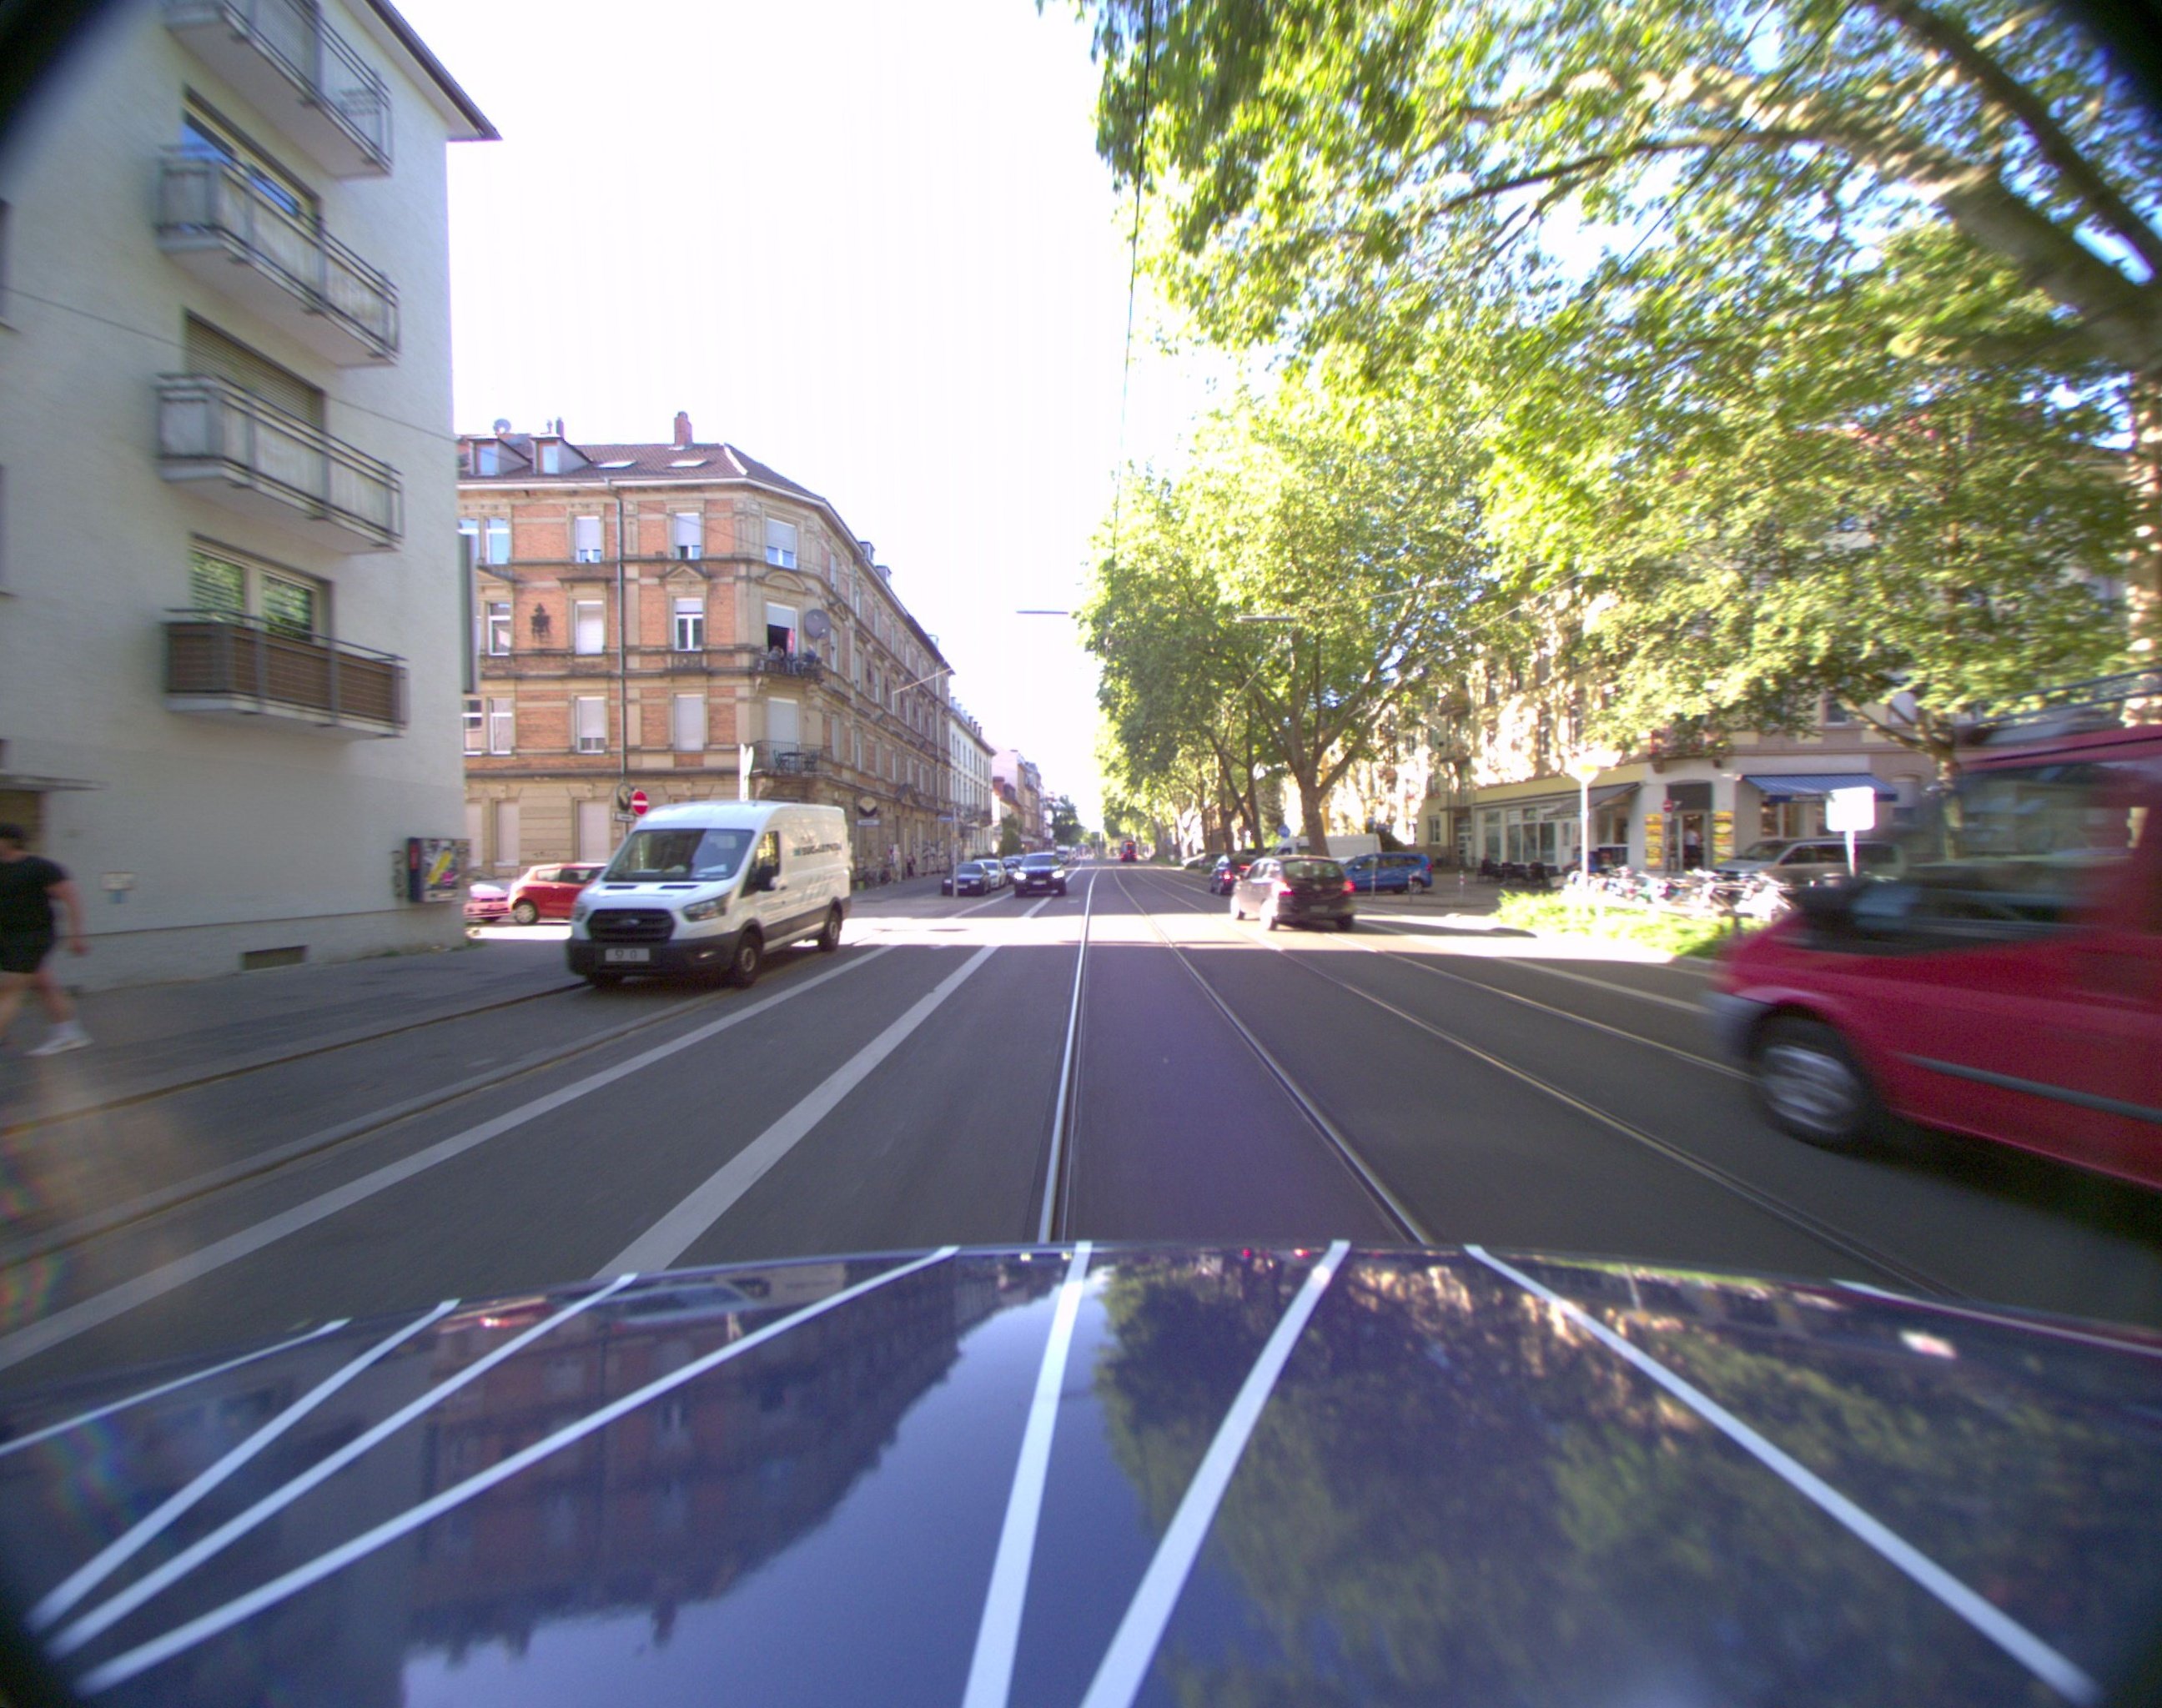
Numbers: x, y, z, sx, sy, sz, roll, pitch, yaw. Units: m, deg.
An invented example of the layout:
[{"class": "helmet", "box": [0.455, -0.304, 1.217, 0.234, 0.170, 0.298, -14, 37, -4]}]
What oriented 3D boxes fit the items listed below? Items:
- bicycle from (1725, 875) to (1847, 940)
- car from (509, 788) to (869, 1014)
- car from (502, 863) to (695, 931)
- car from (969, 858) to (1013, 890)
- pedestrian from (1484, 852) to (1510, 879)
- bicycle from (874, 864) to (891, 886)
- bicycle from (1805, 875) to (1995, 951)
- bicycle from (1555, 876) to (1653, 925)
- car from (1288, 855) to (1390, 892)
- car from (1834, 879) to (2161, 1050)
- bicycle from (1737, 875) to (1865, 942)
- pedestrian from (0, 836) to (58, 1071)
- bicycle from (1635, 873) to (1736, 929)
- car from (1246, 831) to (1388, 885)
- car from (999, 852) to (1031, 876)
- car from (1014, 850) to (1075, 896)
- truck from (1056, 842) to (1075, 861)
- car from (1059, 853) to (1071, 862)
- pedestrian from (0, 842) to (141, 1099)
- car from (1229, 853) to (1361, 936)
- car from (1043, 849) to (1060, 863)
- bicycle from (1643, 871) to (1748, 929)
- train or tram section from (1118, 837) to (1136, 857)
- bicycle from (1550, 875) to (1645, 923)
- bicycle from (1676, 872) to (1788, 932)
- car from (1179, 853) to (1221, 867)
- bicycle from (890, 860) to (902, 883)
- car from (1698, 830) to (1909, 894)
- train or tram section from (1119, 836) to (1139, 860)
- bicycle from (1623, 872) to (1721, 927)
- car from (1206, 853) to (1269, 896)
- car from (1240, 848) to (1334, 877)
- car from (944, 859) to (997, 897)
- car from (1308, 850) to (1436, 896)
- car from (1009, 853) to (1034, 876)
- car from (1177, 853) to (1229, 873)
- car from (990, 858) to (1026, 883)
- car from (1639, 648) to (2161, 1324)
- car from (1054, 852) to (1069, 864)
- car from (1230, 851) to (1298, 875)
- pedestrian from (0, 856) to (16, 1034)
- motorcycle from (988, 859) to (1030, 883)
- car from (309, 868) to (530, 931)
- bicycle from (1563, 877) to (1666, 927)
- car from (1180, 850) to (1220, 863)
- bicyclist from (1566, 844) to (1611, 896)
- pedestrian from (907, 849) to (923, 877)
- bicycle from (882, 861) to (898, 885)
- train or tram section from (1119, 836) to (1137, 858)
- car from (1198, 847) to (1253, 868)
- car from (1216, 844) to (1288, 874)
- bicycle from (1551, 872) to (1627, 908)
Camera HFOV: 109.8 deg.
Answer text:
[{"class": "bicycle", "box": [12.420, 0.928, 13.423, 1.560, 1.082, 0.397, 0, 1, 19]}, {"class": "car", "box": [-5.196, 0.499, 11.471, 2.154, 2.481, 6.088, -1, 1, 1]}, {"class": "car", "box": [-11.976, 1.048, 19.036, 3.659, 1.564, 1.790, -1, 0, 1]}, {"class": "car", "box": [-4.444, 0.964, 37.901, 1.606, 1.412, 4.013, 1, 1, 1]}, {"class": "pedestrian", "box": [18.931, 0.521, 34.630, 0.708, 1.234, 0.930, -1, 1, 3]}, {"class": "bicycle", "box": [-9.528, 1.002, 36.449, 0.379, 0.995, 1.372, -1, 1, 3]}, {"class": "bicycle", "box": [12.485, 0.881, 11.653, 1.920, 1.082, 0.598, 0, 1, 19]}, {"class": "bicycle", "box": [12.223, 1.073, 17.808, 1.858, 1.082, 0.397, 0, 1, 19]}, {"class": "car", "box": [10.983, 0.802, 32.481, 3.779, 1.509, 1.747, -1, 1, -2]}, {"class": "car", "box": [10.745, 1.041, 7.877, 3.997, 1.452, 1.879, -1, 1, 1]}, {"class": "bicycle", "box": [12.241, 0.911, 12.960, 1.560, 1.082, 0.397, 0, 1, 19]}, {"class": "pedestrian", "box": [-8.661, 0.769, 5.632, 0.626, 1.812, 1.082, 1, 1, 3]}, {"class": "bicycle", "box": [12.139, 0.936, 15.295, 1.560, 1.082, 0.397, 0, 1, 19]}, {"class": "car", "box": [12.044, 0.208, 39.112, 6.618, 2.393, 2.000, -3, 0, 2]}, {"class": "car", "box": [-4.285, 0.644, 49.888, 1.610, 1.444, 3.741, 1, 1, 3]}, {"class": "car", "box": [-1.405, 0.762, 31.137, 1.948, 1.694, 4.632, -2, -1, 3]}, {"class": "truck", "box": [-2.701, -0.479, 135.059, 2.842, 3.145, 7.291, -3, 1, 1]}, {"class": "car", "box": [-2.482, 0.502, 119.232, 1.702, 1.324, 3.686, 1, 1, 2]}, {"class": "pedestrian", "box": [-7.988, 0.823, 5.603, 0.711, 1.812, 1.082, 1, 1, 3]}, {"class": "car", "box": [4.324, 0.754, 15.948, 1.722, 1.501, 3.722, -1, 0, 0]}, {"class": "car", "box": [-3.508, 0.252, 89.677, 1.702, 1.559, 3.686, 1, 1, 2]}, {"class": "bicycle", "box": [11.998, 0.884, 14.868, 1.560, 1.082, 0.397, 0, 1, 19]}, {"class": "train or tram section", "box": [8.867, -1.481, 147.540, 2.944, 3.598, 12.410, -2, 1, 3]}, {"class": "bicycle", "box": [12.353, 1.064, 18.216, 1.858, 1.082, 0.397, 0, 1, 19]}, {"class": "bicycle", "box": [12.202, 0.881, 14.284, 1.560, 1.082, 0.397, 0, 1, 19]}, {"class": "car", "box": [12.366, 0.614, 79.115, 3.998, 1.422, 1.601, -1, 1, -2]}, {"class": "bicycle", "box": [-9.565, 0.897, 39.397, 0.274, 1.147, 1.139, -1, 1, 3]}, {"class": "car", "box": [23.056, 0.236, 24.430, 4.582, 1.870, 2.128, -1, 3, 3]}, {"class": "train or tram section", "box": [7.843, -1.093, 124.562, 2.944, 3.598, 11.062, -2, 1, 3]}, {"class": "bicycle", "box": [12.224, 0.926, 15.755, 1.560, 1.082, 0.397, 0, 1, 19]}, {"class": "car", "box": [5.887, 0.721, 28.951, 1.639, 1.501, 3.691, 1, 0, 1]}, {"class": "car", "box": [12.047, 0.484, 44.601, 4.943, 1.437, 2.000, -3, 0, 2]}, {"class": "car", "box": [-4.651, 0.974, 32.437, 1.653, 1.412, 4.059, 1, 1, 0]}, {"class": "car", "box": [11.393, 0.729, 29.902, 4.331, 1.702, 1.816, -1, 1, -2]}, {"class": "car", "box": [-4.252, 0.728, 54.539, 1.514, 1.534, 2.820, 1, 1, 2]}, {"class": "car", "box": [10.951, 0.800, 68.299, 4.365, 1.603, 2.000, -3, 0, 2]}, {"class": "car", "box": [-4.249, 0.935, 44.641, 1.653, 1.265, 3.724, 1, 1, 1]}, {"class": "car", "box": [4.516, 0.453, 2.283, 1.922, 2.214, 4.959, 2, 0, 0]}, {"class": "car", "box": [-2.598, 0.479, 100.949, 1.702, 1.559, 3.686, 1, 1, 2]}, {"class": "car", "box": [12.346, 0.611, 51.439, 4.068, 1.437, 1.869, -3, 0, 2]}, {"class": "pedestrian", "box": [-9.872, 0.796, 6.325, 0.633, 1.572, 0.933, 5, 2, 3]}, {"class": "motorcycle", "box": [-3.953, 0.927, 41.647, 2.143, 1.281, 0.642, -1, 1, -20]}, {"class": "car", "box": [-16.519, 1.103, 19.113, 4.034, 1.447, 1.790, 0, 1, 2]}, {"class": "bicycle", "box": [11.952, 1.068, 17.084, 1.858, 1.082, 0.397, 0, 1, 19]}, {"class": "car", "box": [12.784, 0.284, 81.774, 3.998, 1.367, 1.411, -1, 1, -2]}, {"class": "bicyclist", "box": [15.190, 0.476, 22.749, 0.868, 1.517, 0.736, -1, 1, -1]}, {"class": "pedestrian", "box": [-9.752, 0.520, 44.626, 0.716, 1.647, 0.766, -1, 1, 0]}, {"class": "bicycle", "box": [-9.554, 0.923, 38.100, 0.379, 1.147, 1.372, -1, 1, 3]}, {"class": "train or tram section", "box": [8.336, -1.278, 135.712, 2.944, 3.598, 11.259, -2, 1, 3]}, {"class": "car", "box": [12.521, 0.304, 65.903, 4.365, 1.603, 2.000, -3, 0, 2]}, {"class": "car", "box": [12.119, 0.335, 54.122, 4.639, 1.896, 1.922, -3, 0, 0]}, {"class": "bicycle", "box": [15.202, 1.064, 22.754, 1.875, 1.026, 0.628, -1, 1, -1]}]
